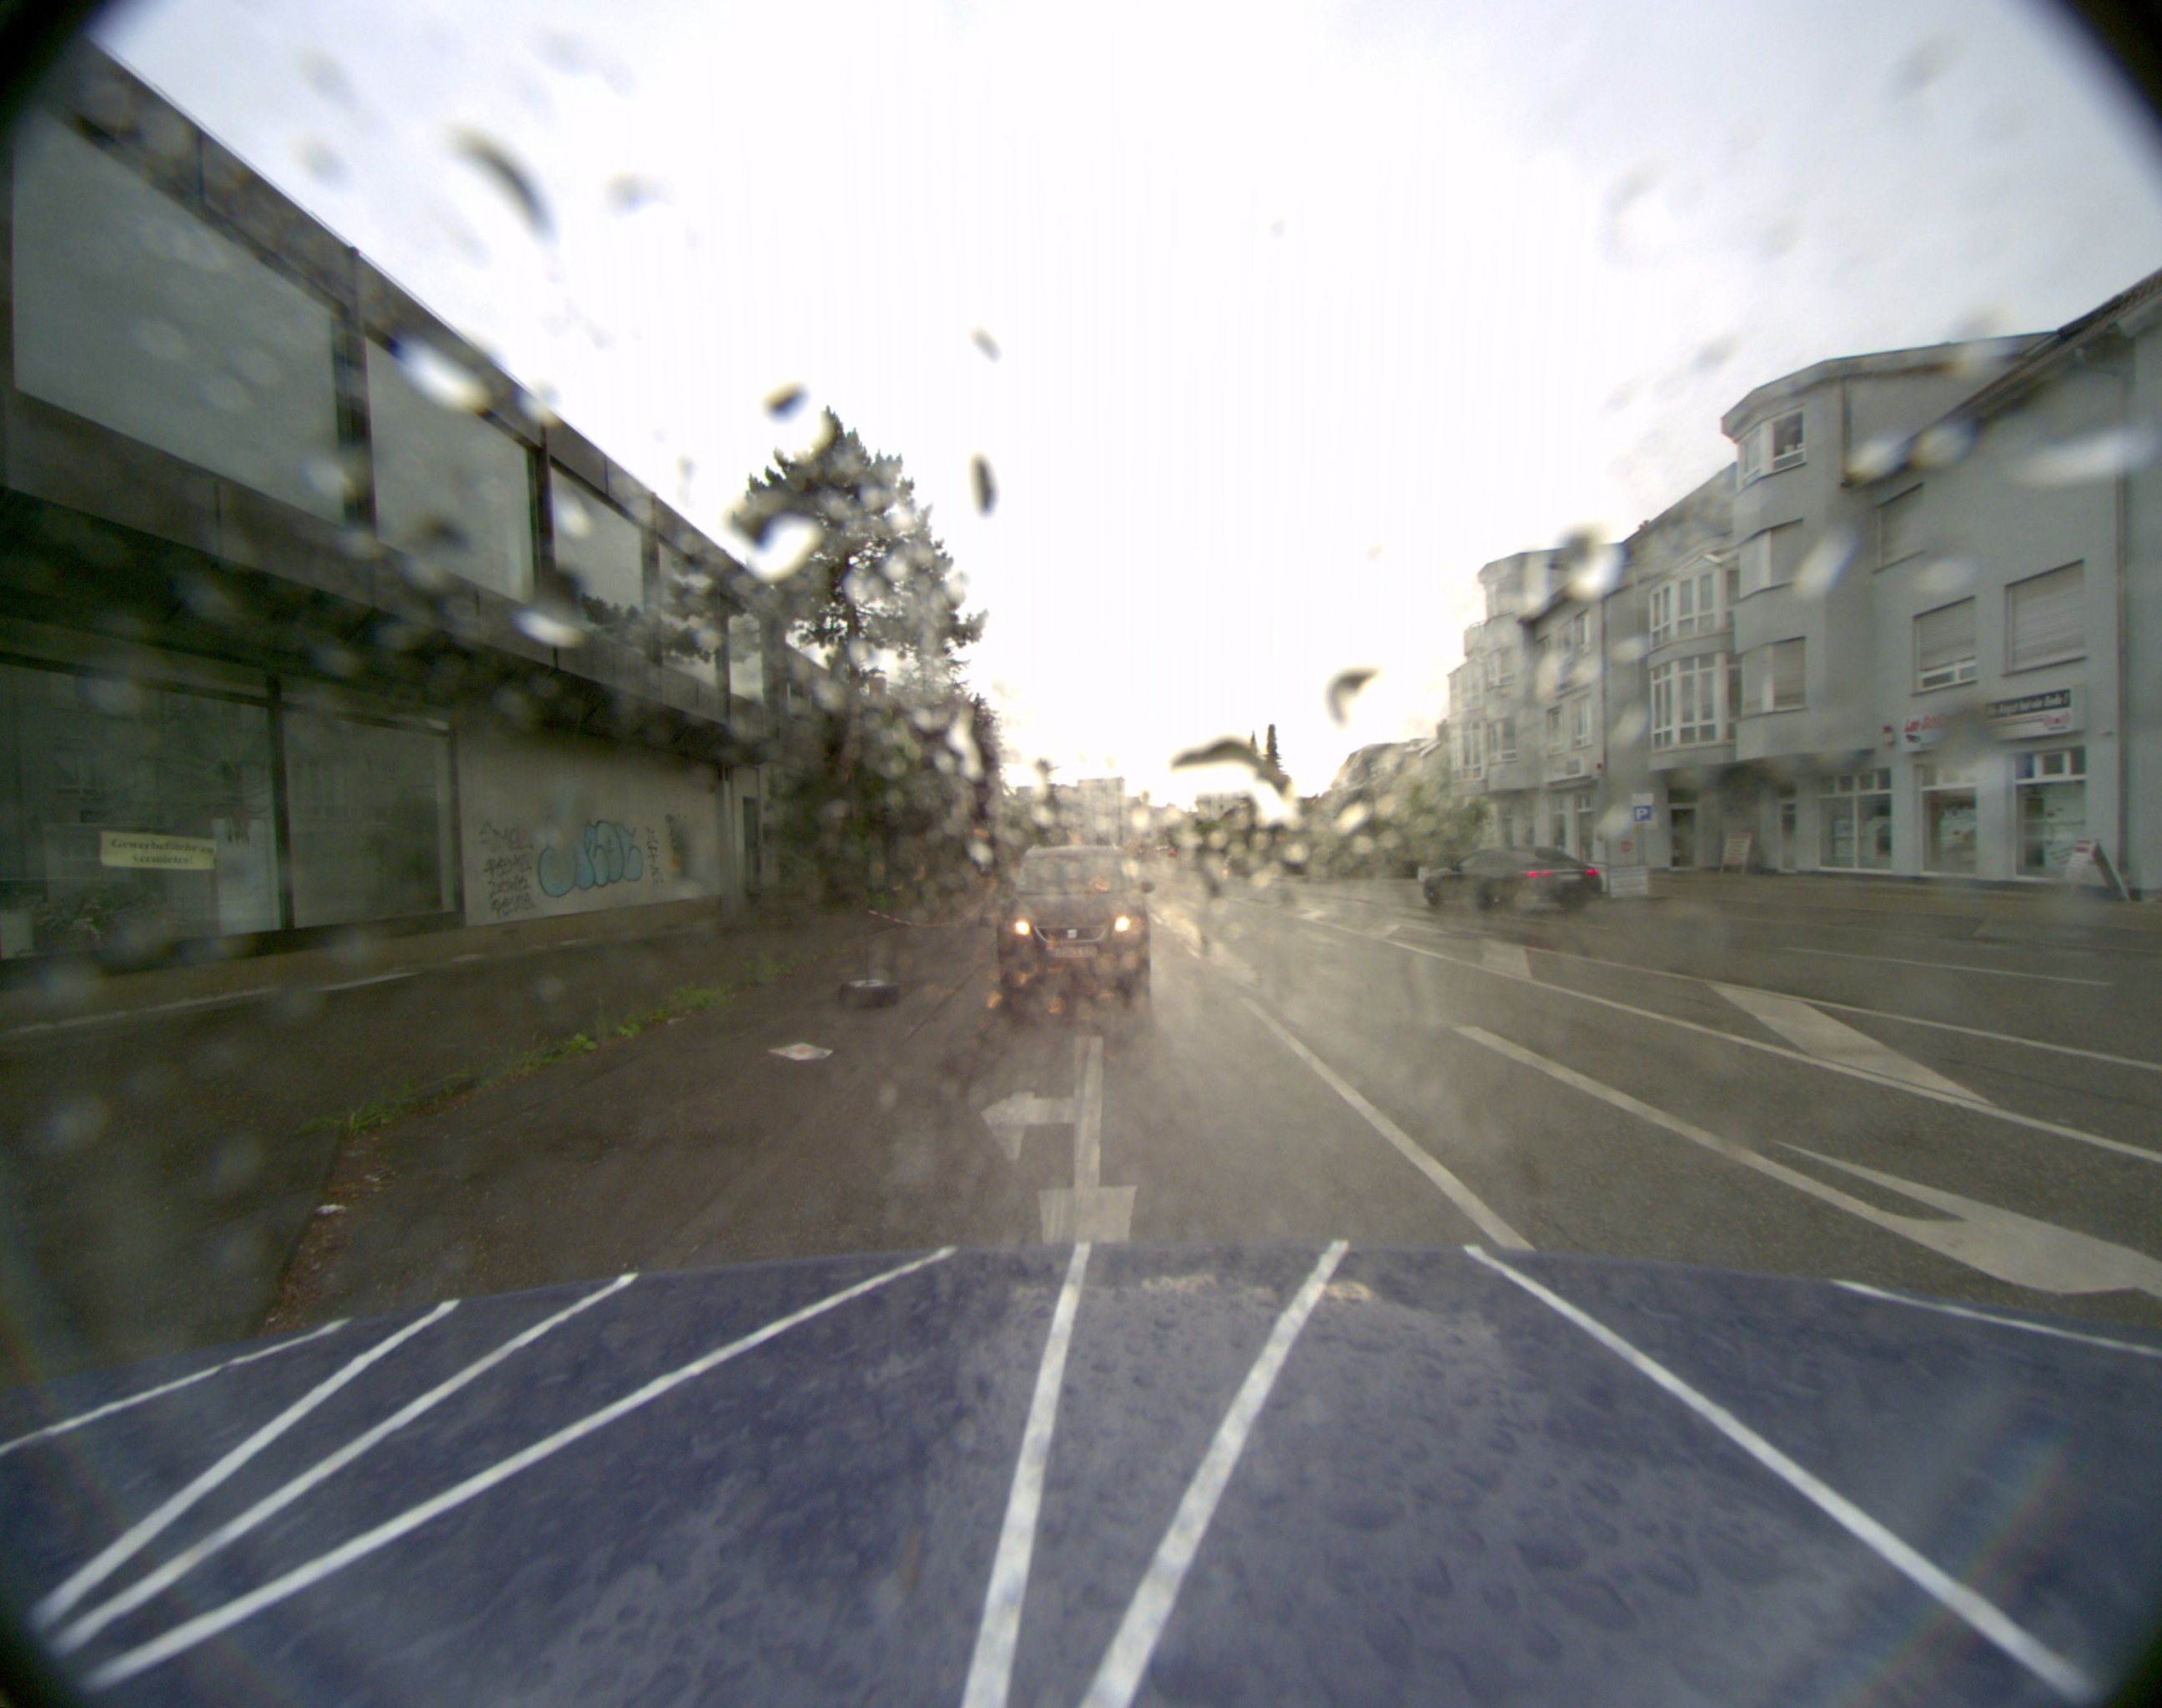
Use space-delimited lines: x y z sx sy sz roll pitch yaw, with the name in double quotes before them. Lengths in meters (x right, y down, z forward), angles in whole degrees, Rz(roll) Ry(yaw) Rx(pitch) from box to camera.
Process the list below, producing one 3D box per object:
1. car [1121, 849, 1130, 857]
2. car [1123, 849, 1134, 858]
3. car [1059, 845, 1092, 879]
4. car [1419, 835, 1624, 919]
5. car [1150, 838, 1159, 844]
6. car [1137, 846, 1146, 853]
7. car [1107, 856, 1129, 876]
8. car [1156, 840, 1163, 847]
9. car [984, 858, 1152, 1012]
"car" 10.543 -0.204 181.253 1.998 1.774 3.999 -2 1 1
"car" 9.771 -0.156 156.965 1.998 1.723 3.999 -2 1 1
"car" -0.340 0.479 50.402 1.998 2.072 3.999 -2 1 1
"car" 9.887 0.437 17.564 1.999 1.615 4.538 -2 1 -1
"car" 23.445 -4.074 242.082 1.996 1.808 4.003 -2 1 14
"car" 16.702 -1.158 209.953 1.997 1.808 4.002 -2 1 8
"car" 3.319 1.075 68.575 1.803 1.675 3.999 -2 1 1
"car" 23.864 -3.159 231.989 1.998 2.002 4.001 -2 1 6
"car" -0.108 0.878 10.432 1.754 1.534 4.676 -1 1 1
